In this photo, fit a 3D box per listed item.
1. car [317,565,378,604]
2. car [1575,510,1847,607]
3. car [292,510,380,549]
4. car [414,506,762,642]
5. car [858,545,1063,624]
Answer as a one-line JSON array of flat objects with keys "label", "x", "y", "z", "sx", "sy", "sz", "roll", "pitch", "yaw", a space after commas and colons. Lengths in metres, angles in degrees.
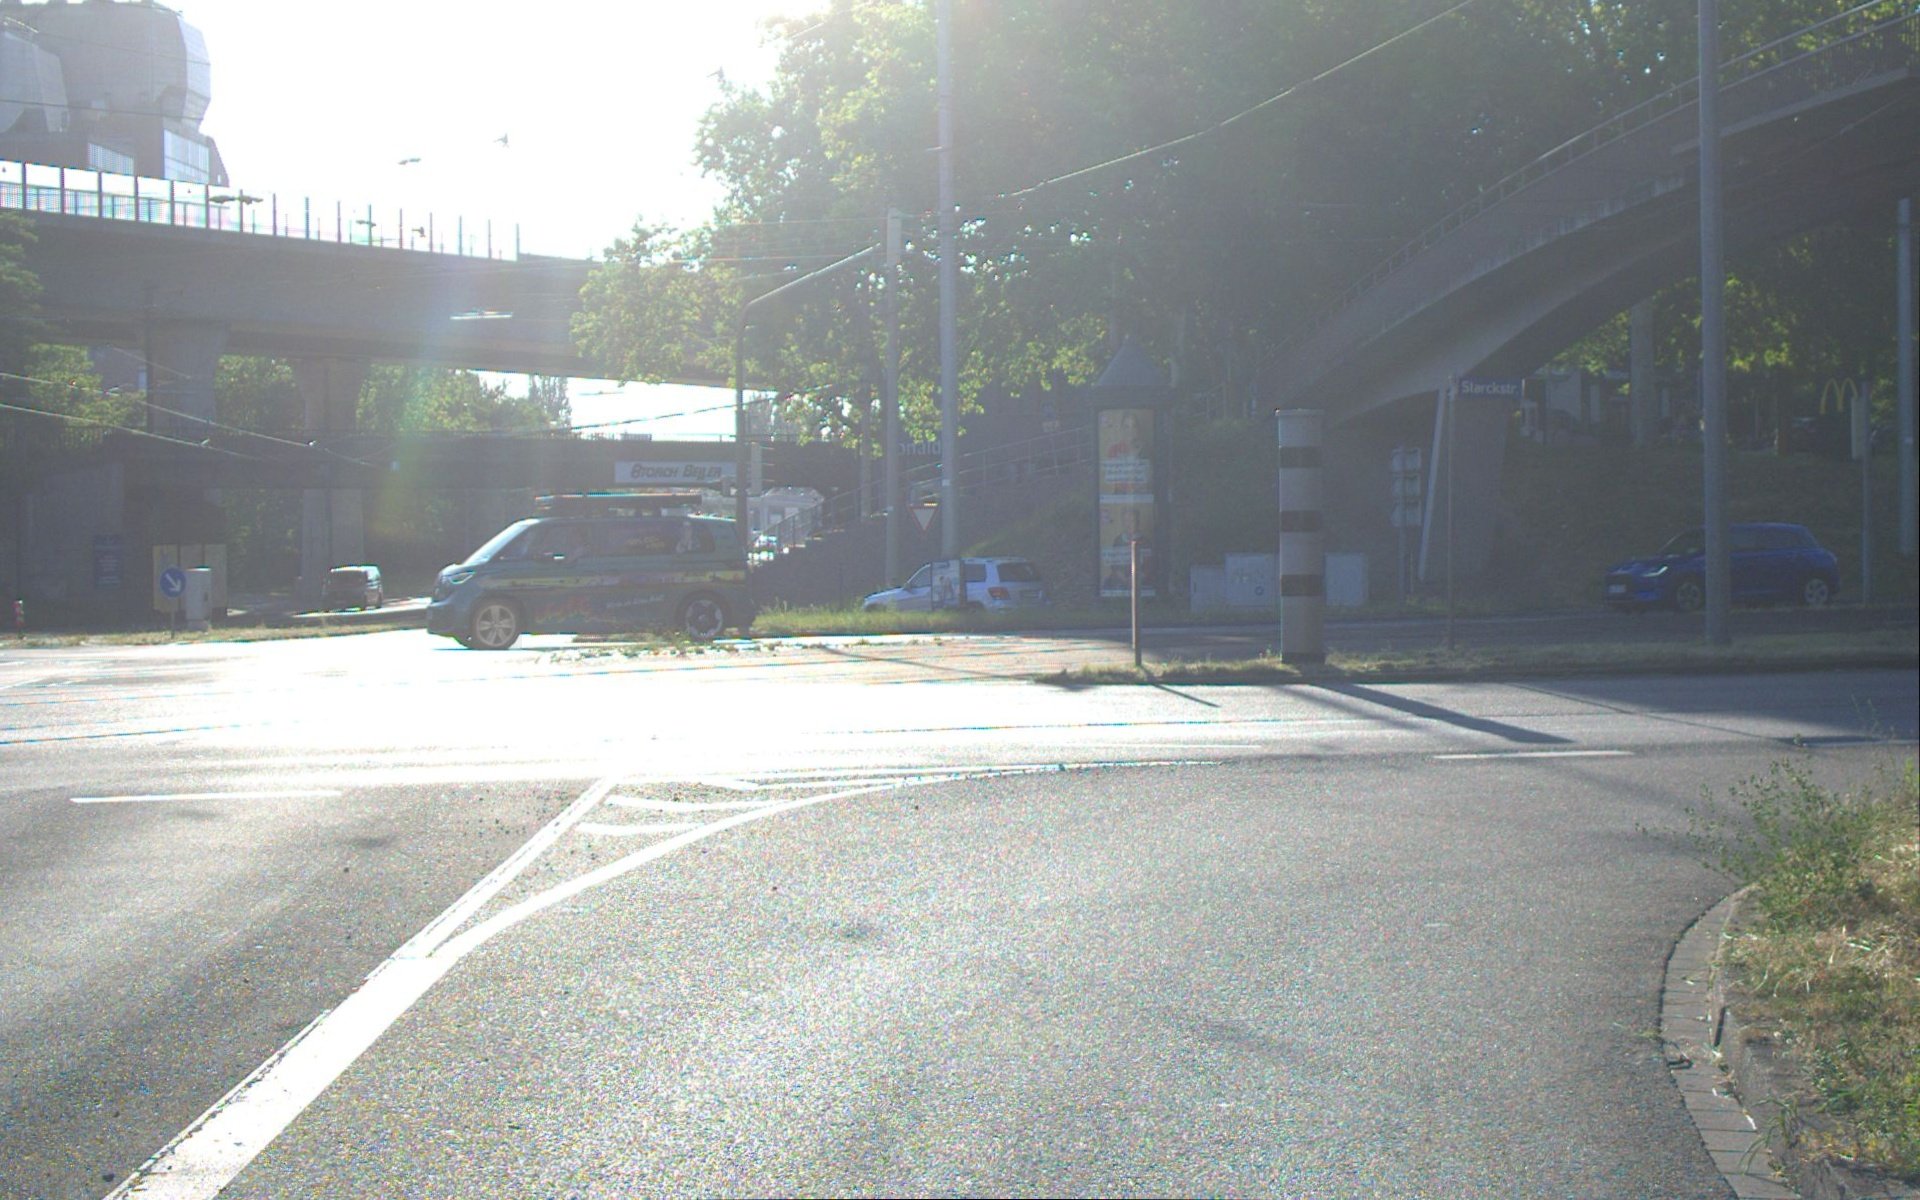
[{"label": "car", "x": -26.388, "y": -0.683, "z": 148.119, "sx": 1.711, "sy": 1.647, "sz": 4.095, "roll": 0, "pitch": 1, "yaw": 3}, {"label": "car", "x": 12.325, "y": -0.687, "z": 56.446, "sx": 3.921, "sy": 1.553, "sz": 2.001, "roll": 0, "pitch": 1, "yaw": -22}, {"label": "car", "x": -30.018, "y": -3.383, "z": 165.403, "sx": 1.997, "sy": 1.765, "sz": 3.993, "roll": 1, "pitch": 1, "yaw": 32}, {"label": "car", "x": -5.406, "y": -0.389, "z": 49.932, "sx": 4.688, "sy": 1.899, "sz": 2.001, "roll": 0, "pitch": 1, "yaw": -19}, {"label": "car", "x": -0.004, "y": -0.353, "z": 73.290, "sx": 4.214, "sy": 1.647, "sz": 1.713, "roll": 1, "pitch": 1, "yaw": 38}]
